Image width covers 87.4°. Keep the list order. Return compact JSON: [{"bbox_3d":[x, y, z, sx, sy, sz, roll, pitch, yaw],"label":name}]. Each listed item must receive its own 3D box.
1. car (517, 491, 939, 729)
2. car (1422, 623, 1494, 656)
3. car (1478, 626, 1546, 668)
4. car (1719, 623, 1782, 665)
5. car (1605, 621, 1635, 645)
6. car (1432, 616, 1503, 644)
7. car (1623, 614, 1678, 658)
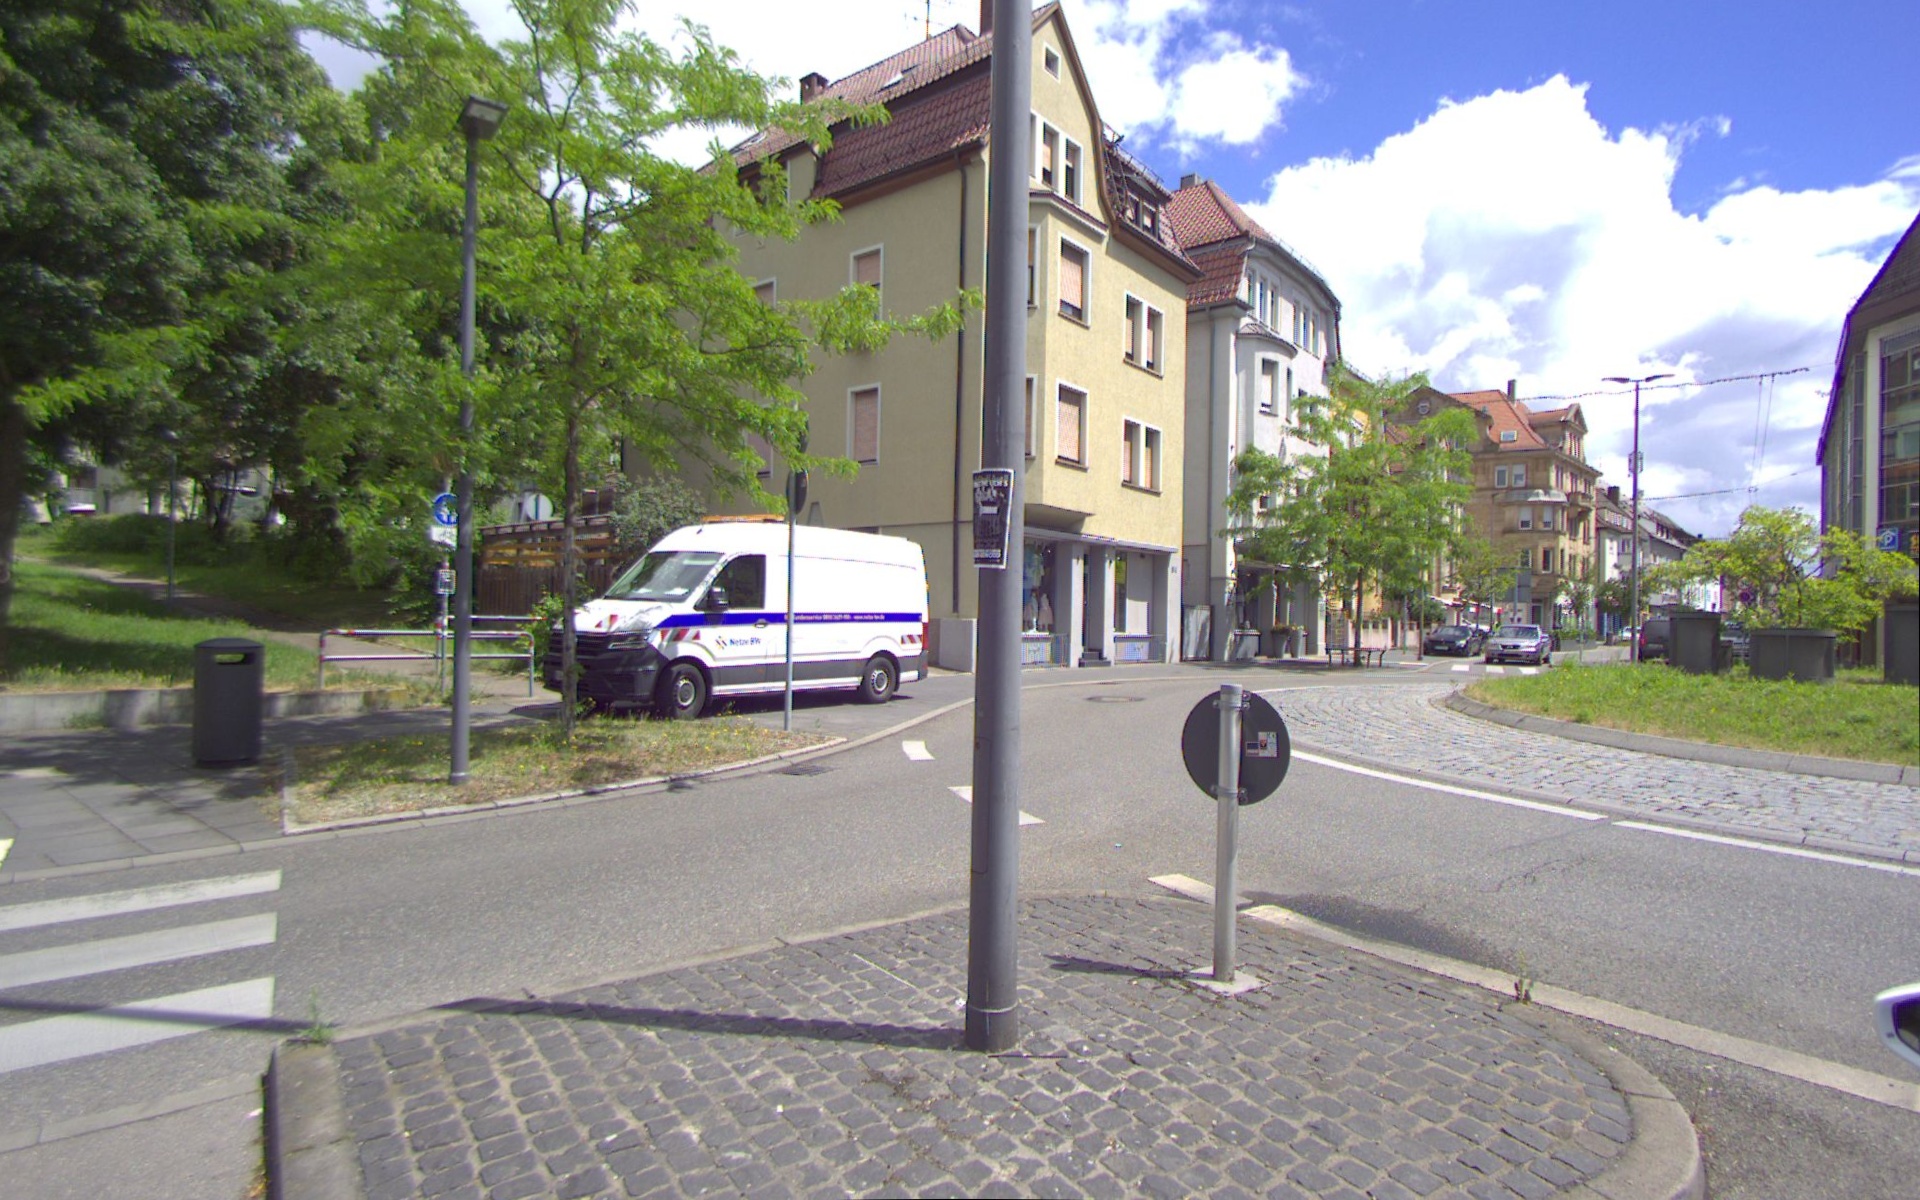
[{"bbox_3d":[-2.879,0.132,14.107,1.942,2.641,5.910,3,1,36],"label":"car"},{"bbox_3d":[21.330,1.646,42.961,1.690,1.262,4.388,2,0,41],"label":"car"},{"bbox_3d":[20.459,1.688,37.155,1.687,1.372,3.985,1,0,36],"label":"car"},{"bbox_3d":[34.753,1.896,44.124,1.805,1.754,4.208,-1,-2,43],"label":"car"},{"bbox_3d":[50.338,2.506,76.586,1.687,1.735,3.985,2,0,36],"label":"car"},{"bbox_3d":[36.042,2.122,71.465,4.349,1.799,1.998,1,0,25],"label":"car"},{"bbox_3d":[29.971,1.555,43.650,1.799,1.729,4.427,3,0,34],"label":"car"}]
